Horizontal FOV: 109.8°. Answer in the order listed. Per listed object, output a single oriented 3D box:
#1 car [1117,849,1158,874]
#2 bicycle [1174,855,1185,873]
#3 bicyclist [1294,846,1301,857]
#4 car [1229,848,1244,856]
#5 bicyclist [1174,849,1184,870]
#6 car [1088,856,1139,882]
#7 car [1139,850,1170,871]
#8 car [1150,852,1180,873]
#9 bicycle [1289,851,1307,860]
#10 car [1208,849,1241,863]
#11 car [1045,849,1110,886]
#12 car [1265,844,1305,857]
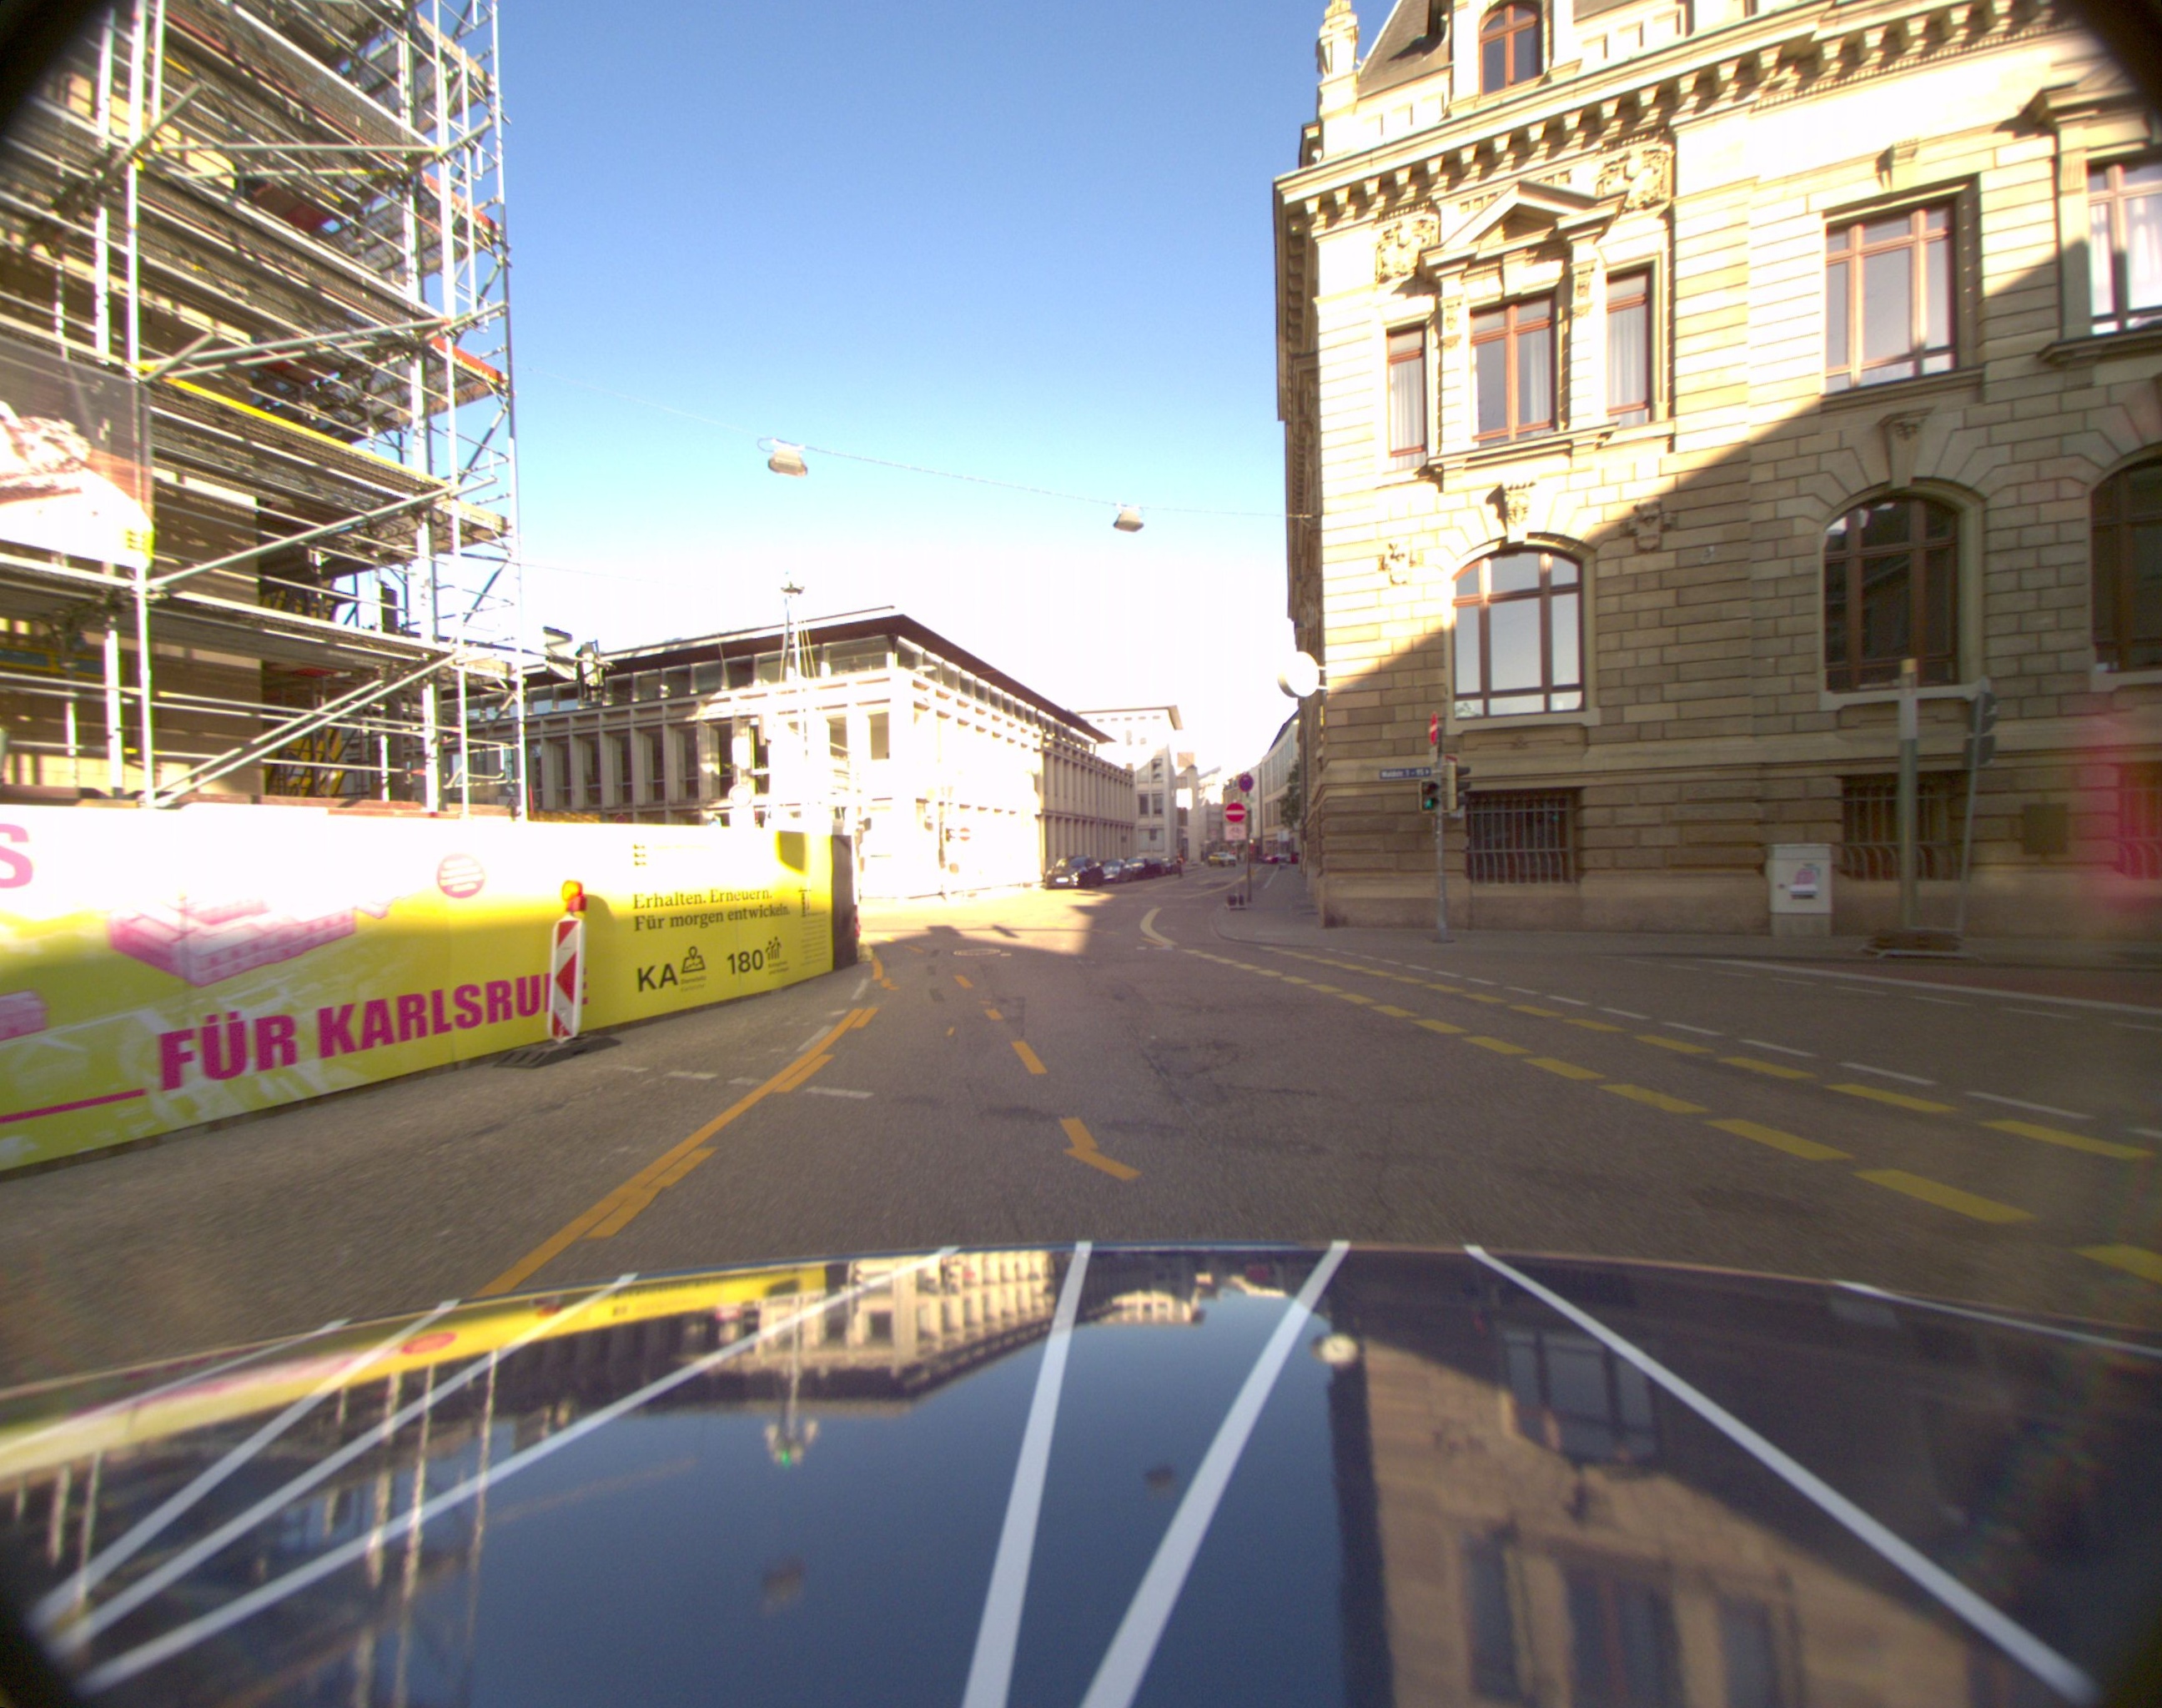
[{"bbox_3d":[3.747,0.477,49.501,1.699,1.462,4.797,-2,0,16],"label":"car"},{"bbox_3d":[6.272,0.624,48.354,0.534,1.060,1.427,-2,0,14],"label":"bicycle"},{"bbox_3d":[24.742,-0.257,86.850,0.612,1.281,0.538,-2,1,6],"label":"bicyclist"},{"bbox_3d":[27.571,-0.377,135.167,2.053,1.482,4.272,-1,0,4],"label":"car"},{"bbox_3d":[6.261,0.344,48.362,0.537,1.281,0.552,-2,1,14],"label":"bicyclist"},{"bbox_3d":[1.929,0.843,43.807,1.699,1.336,4.604,-2,0,19],"label":"car"},{"bbox_3d":[5.368,0.439,55.316,1.630,1.391,3.890,-2,0,14],"label":"car"},{"bbox_3d":[6.728,0.658,60.521,1.696,1.483,4.259,-2,0,14],"label":"car"},{"bbox_3d":[24.826,0.192,86.932,1.871,0.906,0.535,-3,8,6],"label":"bicycle"},{"bbox_3d":[15.757,0.212,83.533,1.856,1.483,4.249,-2,0,-16],"label":"car"},{"bbox_3d":[-0.109,0.622,37.377,1.896,1.614,4.626,-2,0,16],"label":"car"},{"bbox_3d":[24.339,-0.383,90.742,4.267,1.462,1.633,-1,0,3],"label":"car"}]
